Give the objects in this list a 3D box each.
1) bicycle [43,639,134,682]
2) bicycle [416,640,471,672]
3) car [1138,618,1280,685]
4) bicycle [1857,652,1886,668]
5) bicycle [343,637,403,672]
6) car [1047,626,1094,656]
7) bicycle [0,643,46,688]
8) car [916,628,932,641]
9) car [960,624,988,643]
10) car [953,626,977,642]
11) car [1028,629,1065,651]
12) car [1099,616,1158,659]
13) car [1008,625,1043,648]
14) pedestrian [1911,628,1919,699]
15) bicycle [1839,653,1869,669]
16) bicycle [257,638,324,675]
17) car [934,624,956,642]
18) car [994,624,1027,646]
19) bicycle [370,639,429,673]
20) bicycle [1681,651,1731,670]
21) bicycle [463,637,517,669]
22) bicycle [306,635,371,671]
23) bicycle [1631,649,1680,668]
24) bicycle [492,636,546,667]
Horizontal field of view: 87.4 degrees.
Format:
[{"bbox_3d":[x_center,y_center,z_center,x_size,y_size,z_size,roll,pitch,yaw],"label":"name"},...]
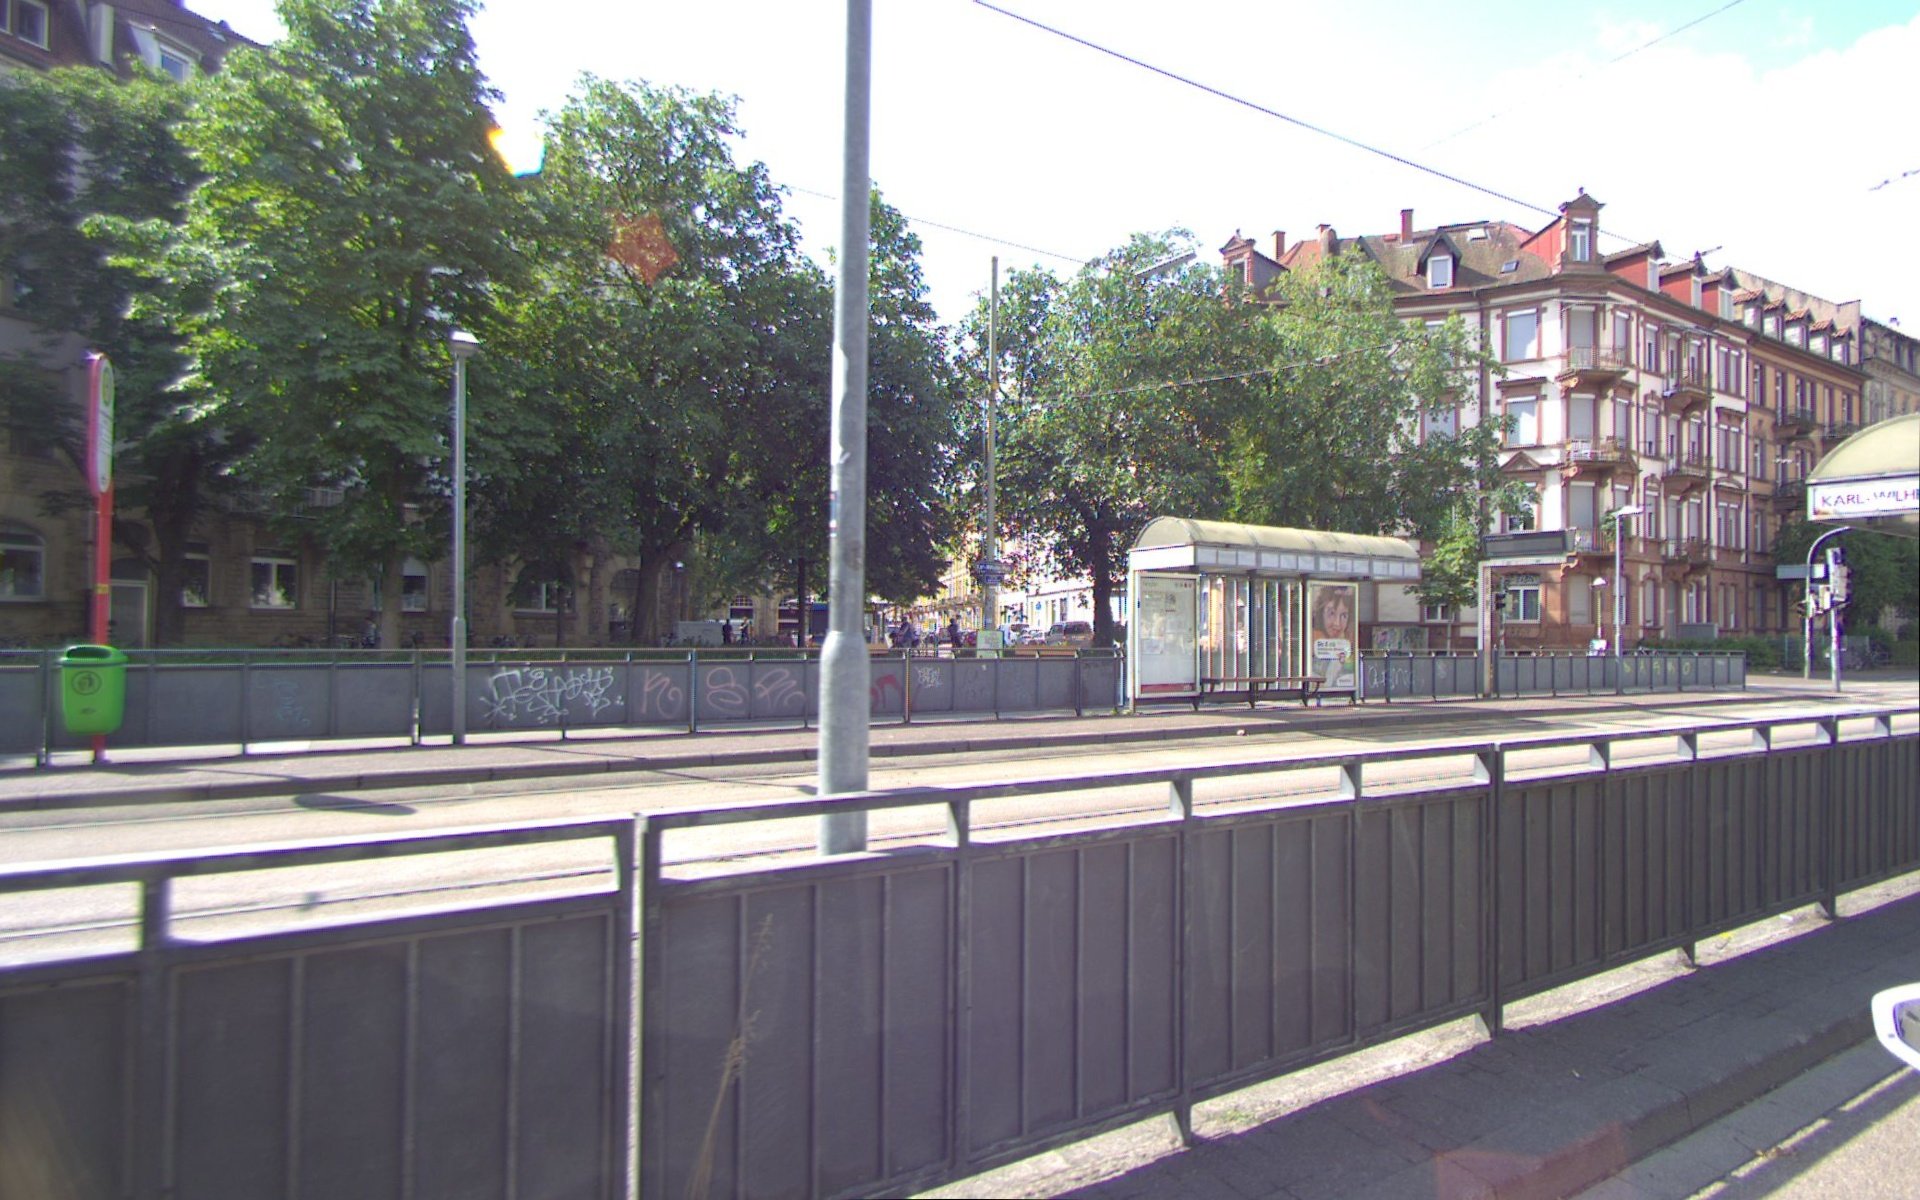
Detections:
[{"bbox_3d":[-20.052,1.389,23.113,1.990,0.894,0.547,2,-1,16],"label":"bicycle"},{"bbox_3d":[-16.040,1.726,31.179,1.996,0.910,0.571,1,-1,32],"label":"bicycle"},{"bbox_3d":[7.191,1.451,28.931,3.954,1.800,1.672,2,-2,-31],"label":"car"},{"bbox_3d":[40.506,2.661,44.618,1.689,0.686,0.384,1,-1,-27],"label":"bicycle"},{"bbox_3d":[-17.146,1.583,29.329,1.994,0.910,0.571,1,-1,29],"label":"bicycle"},{"bbox_3d":[6.447,2.398,59.068,1.881,1.685,3.936,1,-2,-8],"label":"car"},{"bbox_3d":[-20.575,1.380,21.477,1.990,0.894,0.512,2,-1,16],"label":"bicycle"},{"bbox_3d":[-4.497,4.244,124.498,1.542,1.589,3.841,1,-2,-10],"label":"car"},{"bbox_3d":[1.233,3.045,90.779,1.862,1.694,3.784,1,-2,-9],"label":"car"},{"bbox_3d":[0.456,3.240,96.185,1.683,1.524,3.681,1,-2,-8],"label":"car"},{"bbox_3d":[5.510,2.553,64.521,1.467,1.411,3.689,1,-2,-10],"label":"car"},{"bbox_3d":[8.220,1.793,49.266,1.822,2.015,3.944,1,-1,-7],"label":"car"},{"bbox_3d":[4.523,2.538,69.902,1.601,1.513,3.641,1,-2,-10],"label":"car"},{"bbox_3d":[23.131,1.505,23.759,0.660,1.697,0.767,1,-2,-31],"label":"pedestrian"},{"bbox_3d":[38.673,2.650,43.429,1.689,0.662,0.384,1,-1,-27],"label":"bicycle"},{"bbox_3d":[-18.277,1.536,27.397,1.993,0.910,0.546,1,-1,25],"label":"bicycle"},{"bbox_3d":[-1.673,3.598,110.486,1.964,1.884,3.995,1,-2,-9],"label":"car"},{"bbox_3d":[3.747,2.556,74.666,1.686,1.575,3.915,1,-2,-8],"label":"car"},{"bbox_3d":[-16.767,1.668,30.035,1.994,0.910,0.571,1,-1,29],"label":"bicycle"},{"bbox_3d":[30.503,2.470,41.089,1.676,0.757,0.386,0,-1,5],"label":"bicycle"},{"bbox_3d":[-15.101,1.691,32.240,1.996,0.910,0.571,1,-1,32],"label":"bicycle"},{"bbox_3d":[-17.626,1.486,28.479,1.993,0.910,0.571,1,-1,27],"label":"bicycle"},{"bbox_3d":[28.547,2.402,41.249,1.676,0.757,0.386,0,-1,5],"label":"bicycle"},{"bbox_3d":[-14.432,1.679,32.849,1.996,0.910,0.571,1,-1,32],"label":"bicycle"}]
